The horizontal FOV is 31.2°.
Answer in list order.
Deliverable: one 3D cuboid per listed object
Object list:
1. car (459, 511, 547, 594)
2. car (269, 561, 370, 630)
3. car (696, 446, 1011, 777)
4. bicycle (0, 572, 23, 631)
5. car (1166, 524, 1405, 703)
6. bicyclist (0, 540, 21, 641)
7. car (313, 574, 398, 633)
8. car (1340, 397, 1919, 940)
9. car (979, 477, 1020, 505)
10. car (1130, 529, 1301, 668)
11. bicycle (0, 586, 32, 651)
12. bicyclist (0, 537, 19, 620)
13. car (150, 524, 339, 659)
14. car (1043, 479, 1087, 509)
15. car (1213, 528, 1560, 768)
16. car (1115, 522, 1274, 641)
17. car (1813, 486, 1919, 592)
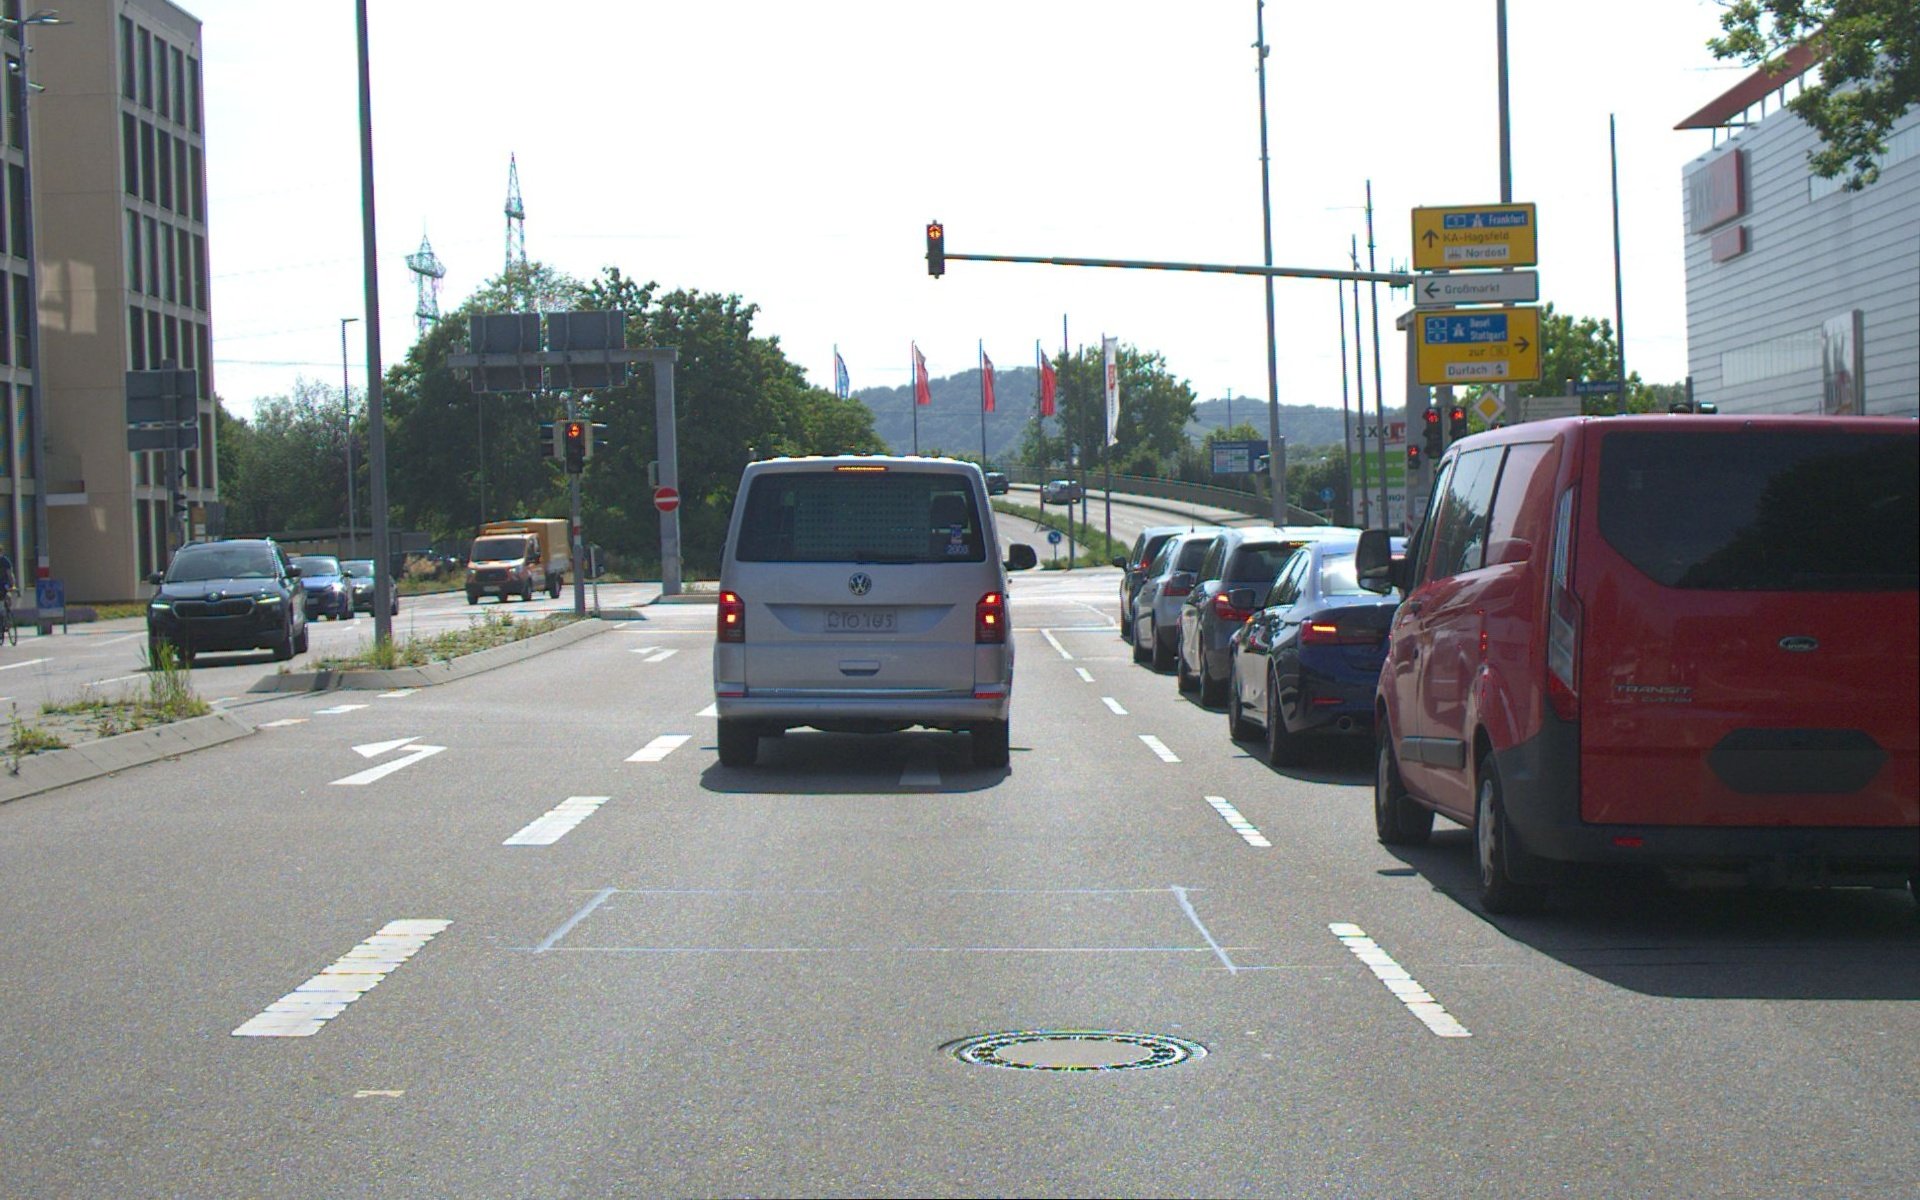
[{"bbox_3d":[-14.938,-1.578,112.705,2.405,2.552,6.897,-2,1,-5],"label":"car"},{"bbox_3d":[-14.437,-0.124,77.646,1.681,1.353,3.841,-2,2,-2],"label":"car"},{"bbox_3d":[-0.650,0.025,22.686,1.884,1.983,4.000,0,1,0],"label":"car"},{"bbox_3d":[-17.709,0.026,62.937,0.585,1.048,1.876,-1,1,0],"label":"bicycle"},{"bbox_3d":[2.877,0.070,31.137,1.746,1.511,4.078,0,1,0],"label":"car"},{"bbox_3d":[-14.774,-0.137,52.262,0.618,1.521,1.036,-3,1,1],"label":"bicyclist"},{"bbox_3d":[-15.632,0.072,89.095,1.576,1.404,4.380,-2,1,-2],"label":"car"},{"bbox_3d":[2.951,0.192,15.035,1.967,1.961,5.126,0,1,0],"label":"car"},{"bbox_3d":[2.918,-8.031,252.453,1.993,2.007,4.001,-1,1,-15],"label":"car"},{"bbox_3d":[2.790,-0.058,38.140,1.578,1.453,3.786,0,1,0],"label":"car"},{"bbox_3d":[-14.730,0.290,52.188,0.680,0.937,1.973,-3,1,1],"label":"bicycle"},{"bbox_3d":[-17.707,-0.394,62.996,0.630,1.496,1.028,-1,1,0],"label":"bicyclist"},{"bbox_3d":[-9.648,-0.153,46.643,1.738,1.613,4.210,-4,1,-2],"label":"car"},{"bbox_3d":[7.230,-7.320,236.990,1.993,2.007,4.001,-1,1,-15],"label":"car"},{"bbox_3d":[2.768,0.247,23.201,1.746,1.453,4.476,0,1,0],"label":"car"},{"bbox_3d":[3.121,-0.284,46.422,1.836,1.521,4.000,0,1,0],"label":"car"},{"bbox_3d":[19.782,-1.331,69.919,4.402,1.987,1.481,-4,1,5],"label":"car"}]
